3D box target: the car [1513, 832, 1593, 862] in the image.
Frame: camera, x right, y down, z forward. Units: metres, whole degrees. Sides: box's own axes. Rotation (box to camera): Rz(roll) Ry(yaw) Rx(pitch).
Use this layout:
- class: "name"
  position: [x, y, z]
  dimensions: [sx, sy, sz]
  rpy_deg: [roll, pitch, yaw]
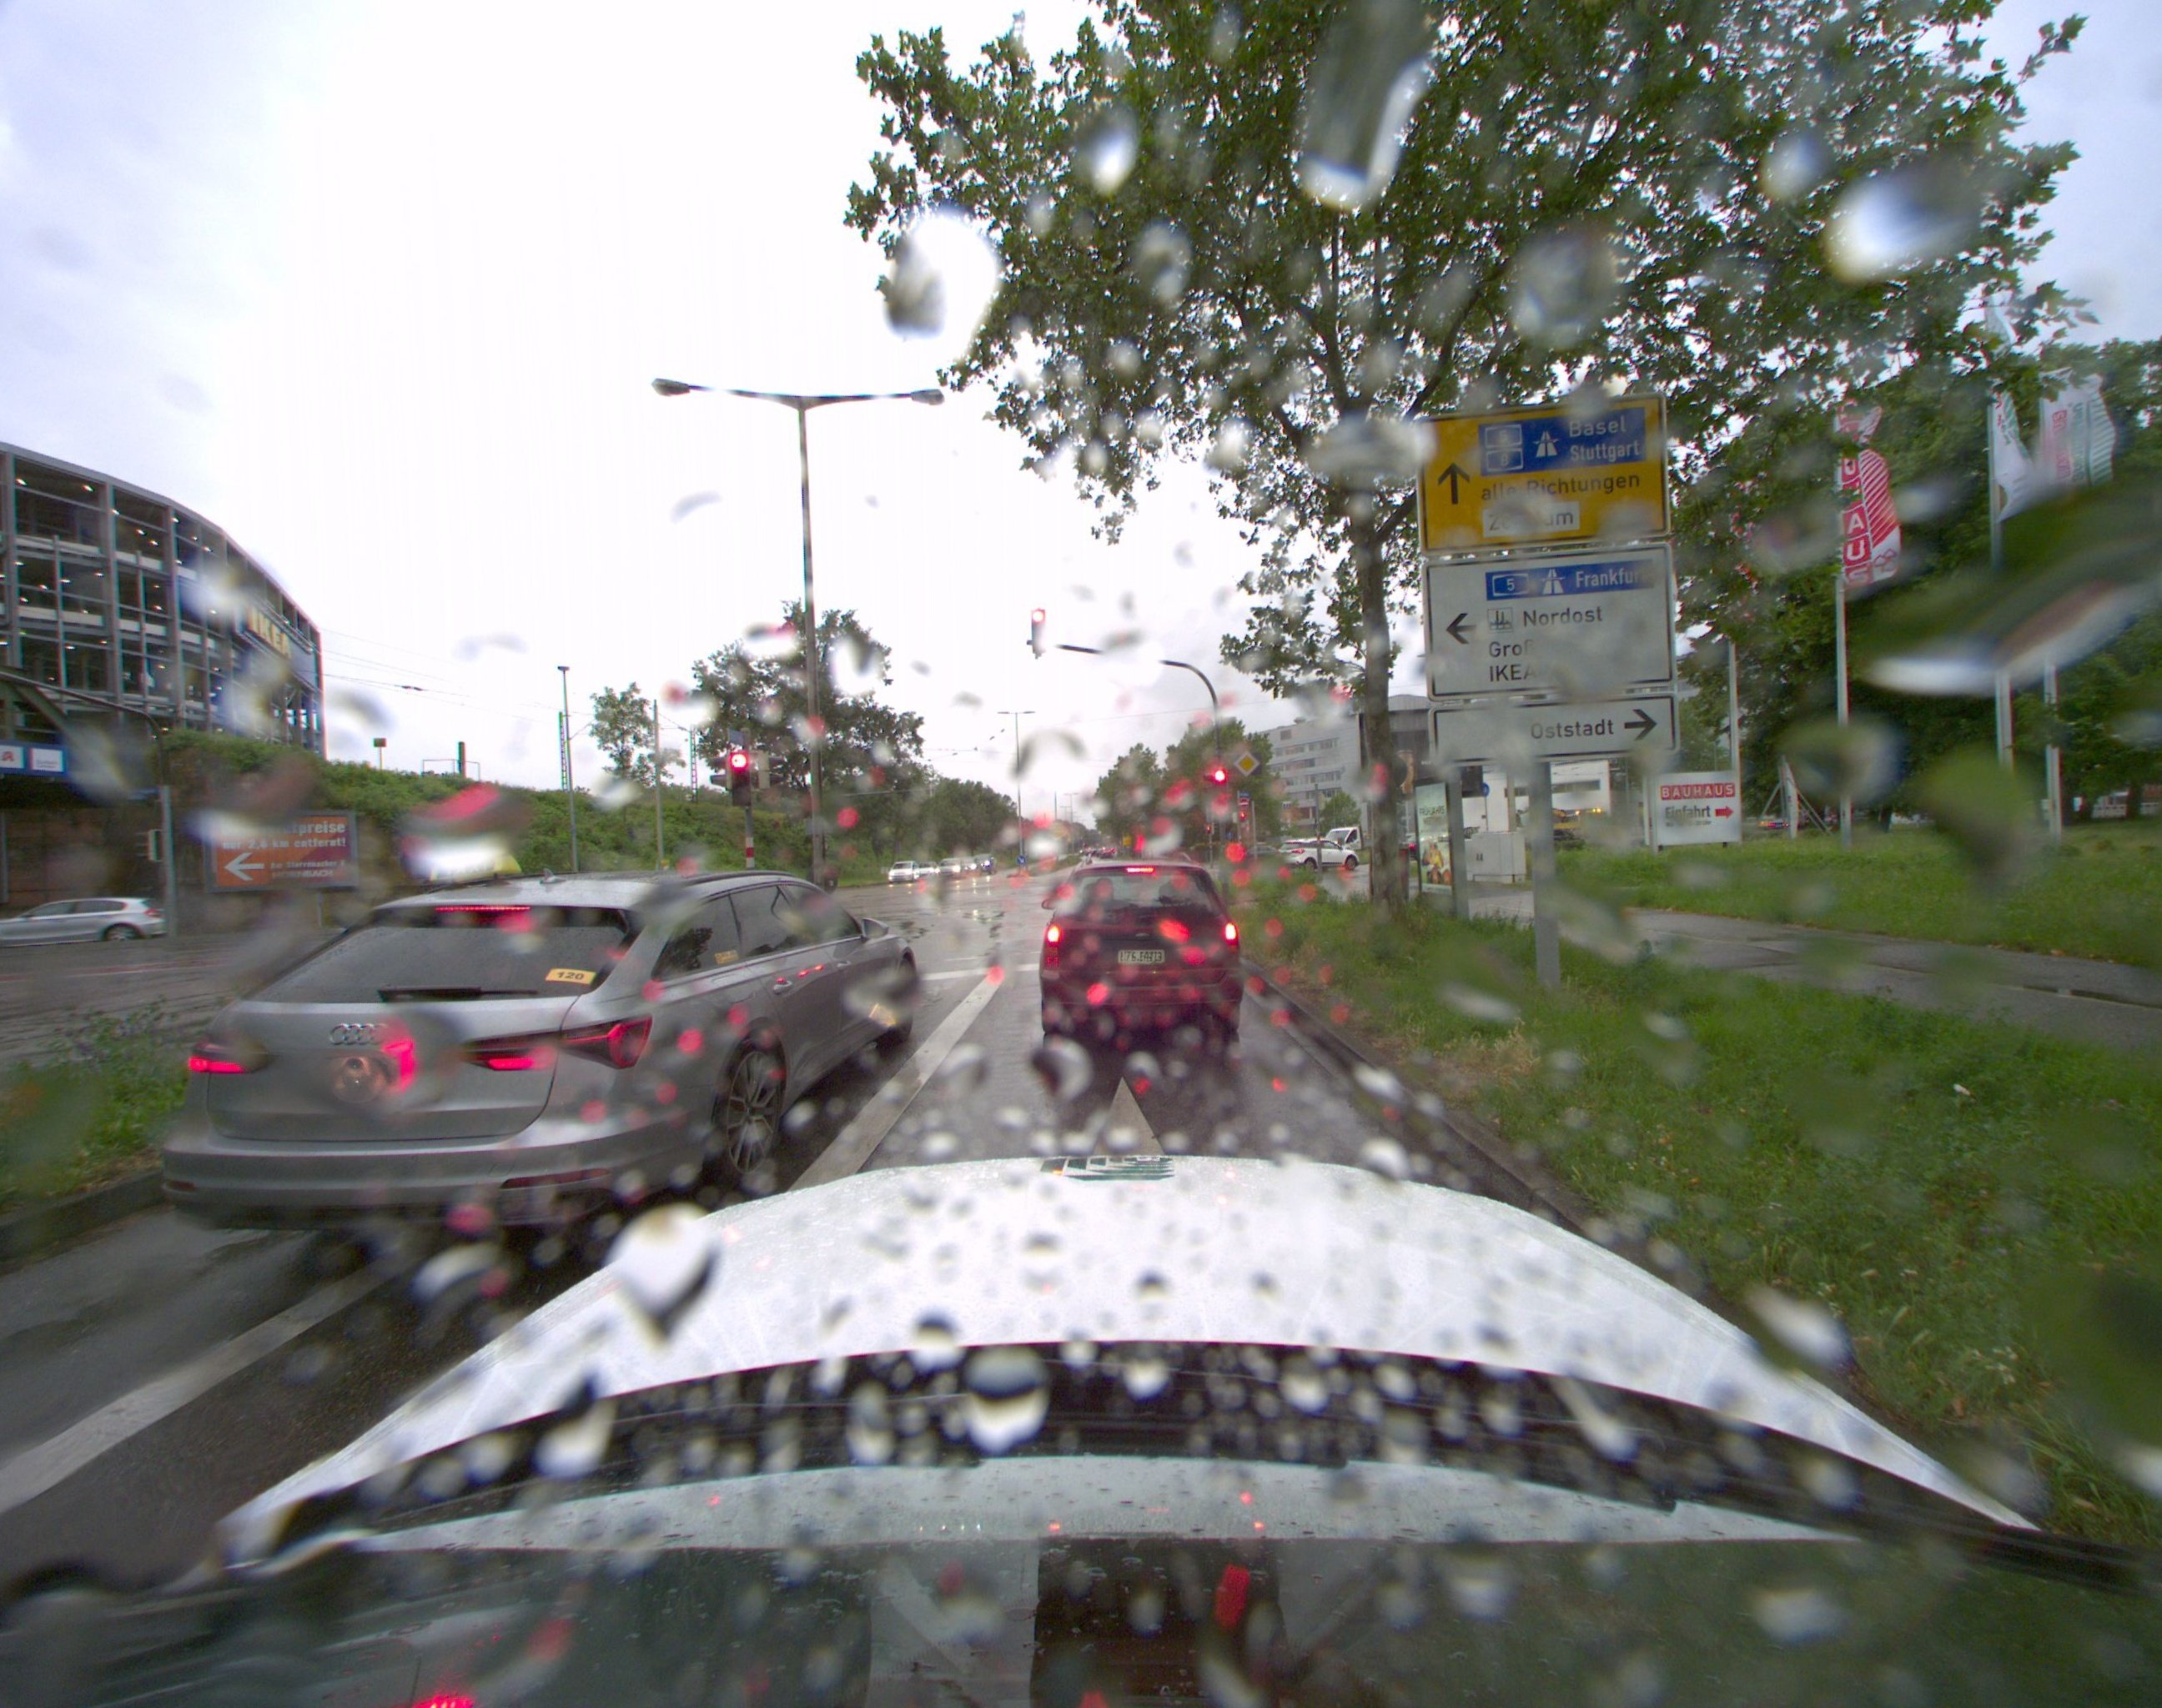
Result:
- class: "car"
  position: [26.440, -0.385, 45.635]
  dimensions: [4.398, 1.537, 1.786]
  rpy_deg: [-2, 0, -28]

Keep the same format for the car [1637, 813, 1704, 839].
- class: "car"
  position: [39.028, -1.882, 53.878]
  dimensions: [4.398, 1.537, 1.786]
  rpy_deg: [-3, 0, -28]

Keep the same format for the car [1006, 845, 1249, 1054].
- class: "car"
  position: [0.415, 0.710, 8.240]
  dimensions: [1.789, 1.537, 4.389]
  rpy_deg: [-1, 0, 2]

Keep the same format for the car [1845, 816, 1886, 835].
- class: "car"
  position: [70.546, -2.569, 73.215]
  dimensions: [4.405, 1.537, 1.783]
  rpy_deg: [-2, 0, -35]

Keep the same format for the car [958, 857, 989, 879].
- class: "car"
  position: [-8.304, 1.086, 63.405]
  dimensions: [1.706, 1.530, 4.002]
  rpy_deg: [-3, 0, 2]

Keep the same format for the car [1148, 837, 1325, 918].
- class: "car"
  position: [3.926, 0.505, 20.155]
  dimensions: [4.409, 1.537, 1.781]
  rpy_deg: [-5, 3, -38]

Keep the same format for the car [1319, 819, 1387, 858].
- class: "car"
  position: [17.954, -1.021, 53.681]
  dimensions: [4.405, 2.190, 1.783]
  rpy_deg: [-5, 1, -33]

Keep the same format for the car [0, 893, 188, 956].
- class: "car"
  position: [-29.050, 2.022, 23.550]
  dimensions: [4.018, 1.486, 1.798]
  rpy_deg: [-2, 0, -36]

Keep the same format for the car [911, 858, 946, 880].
- class: "car"
  position: [-11.570, 1.129, 61.939]
  dimensions: [1.706, 1.530, 4.002]
  rpy_deg: [-3, 0, 2]

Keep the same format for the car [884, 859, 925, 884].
- class: "car"
  position: [-11.948, 1.136, 55.405]
  dimensions: [1.706, 1.530, 4.002]
  rpy_deg: [-3, 0, 2]

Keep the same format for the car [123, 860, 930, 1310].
- class: "car"
  position: [-2.289, 0.790, 5.009]
  dimensions: [1.684, 1.433, 4.576]
  rpy_deg: [-2, 0, 2]

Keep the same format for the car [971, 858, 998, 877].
- class: "car"
  position: [-8.386, 1.176, 71.094]
  dimensions: [1.706, 1.530, 4.002]
  rpy_deg: [-3, 0, 2]

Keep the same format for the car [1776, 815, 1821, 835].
- class: "car"
  position: [61.024, -2.463, 69.253]
  dimensions: [4.405, 1.537, 1.783]
  rpy_deg: [-2, 0, -34]

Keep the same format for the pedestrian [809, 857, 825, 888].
- class: "pedestrian"
  position: [-14.960, 1.046, 46.187]
  dimensions: [0.528, 1.786, 0.676]
  rpy_deg: [-1, -1, 19]

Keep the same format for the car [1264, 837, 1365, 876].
- class: "car"
  position: [10.340, 0.101, 35.993]
  dimensions: [4.076, 1.521, 1.981]
  rpy_deg: [-2, 0, -30]

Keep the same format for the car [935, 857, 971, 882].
- class: "car"
  position: [-8.854, 1.039, 56.553]
  dimensions: [1.706, 1.530, 4.002]
  rpy_deg: [-3, 0, 2]

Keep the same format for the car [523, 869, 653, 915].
- class: "car"
  position: [-18.562, 1.396, 30.713]
  dimensions: [4.018, 1.429, 1.699]
  rpy_deg: [-3, 0, -36]

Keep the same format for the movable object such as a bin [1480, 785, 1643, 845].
- class: "movable object such as a bin"
  position: [57.778, -4.410, 98.683]
  dimensions: [8.296, 6.283, 14.818]
  rpy_deg: [0, -1, -32]
